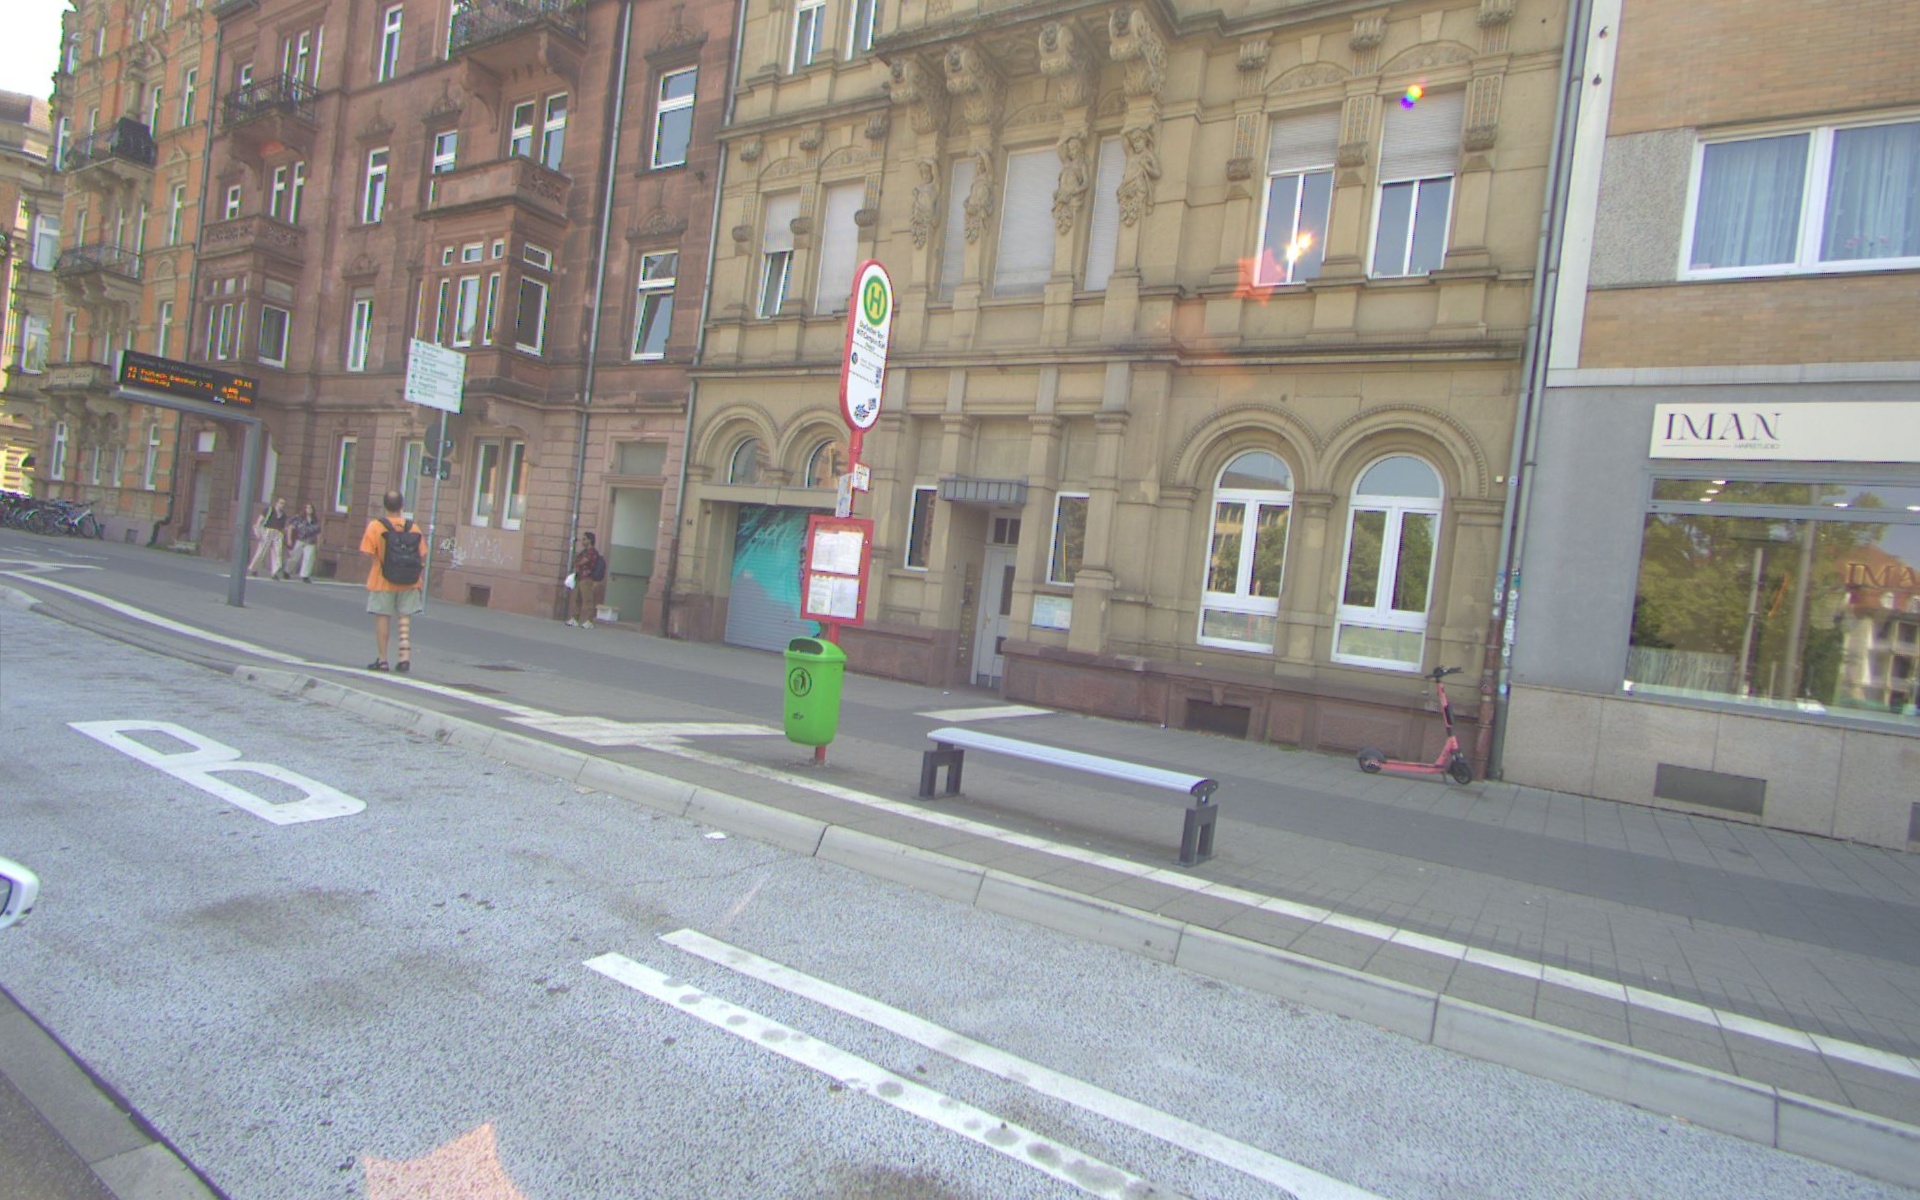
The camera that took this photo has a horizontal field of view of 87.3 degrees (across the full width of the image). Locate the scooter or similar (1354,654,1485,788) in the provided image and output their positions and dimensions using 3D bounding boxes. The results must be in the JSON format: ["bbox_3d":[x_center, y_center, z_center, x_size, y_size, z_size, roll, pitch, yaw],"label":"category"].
[{"bbox_3d":[4.888,1.259,10.720,1.122,1.228,0.476,7,1,27],"label":"scooter or similar"}]

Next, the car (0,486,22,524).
[{"bbox_3d":[-41.995,-4.232,41.867,1.652,1.539,3.942,7,0,24],"label":"car"}]

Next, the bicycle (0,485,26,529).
[{"bbox_3d":[-33.076,-3.265,33.275,0.932,1.390,3.007,7,0,31],"label":"bicycle"}]

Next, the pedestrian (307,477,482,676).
[{"bbox_3d":[-5.504,-0.219,9.794,1.221,1.762,0.963,5,-1,38],"label":"pedestrian"}]

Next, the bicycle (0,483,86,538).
[{"bbox_3d":[-28.643,-2.775,30.551,0.857,1.388,2.997,7,0,31],"label":"bicycle"}]

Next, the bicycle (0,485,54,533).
[{"bbox_3d":[-31.105,-3.034,32.133,0.932,1.390,3.007,7,0,31],"label":"bicycle"}]

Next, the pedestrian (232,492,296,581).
[{"bbox_3d":[-15.044,-1.366,21.736,0.833,1.798,0.715,7,1,31],"label":"pedestrian"}]

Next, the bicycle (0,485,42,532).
[{"bbox_3d":[-31.965,-3.119,32.624,0.932,1.390,3.007,7,0,31],"label":"bicycle"}]

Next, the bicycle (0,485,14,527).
[{"bbox_3d":[-33.962,-3.364,33.782,0.932,1.390,3.007,7,0,31],"label":"bicycle"}]

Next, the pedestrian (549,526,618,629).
[{"bbox_3d":[-7.033,-0.400,18.821,0.729,1.800,0.870,7,1,4],"label":"pedestrian"}]

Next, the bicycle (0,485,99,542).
[{"bbox_3d":[-27.871,-2.629,30.112,0.857,1.388,2.997,7,0,31],"label":"bicycle"}]

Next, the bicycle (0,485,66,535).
[{"bbox_3d":[-30.203,-2.930,31.554,0.932,1.390,3.007,7,0,31],"label":"bicycle"}]

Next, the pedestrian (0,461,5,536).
[{"bbox_3d":[-17.642,-1.642,17.773,0.892,1.763,0.761,5,2,-33],"label":"pedestrian"}]

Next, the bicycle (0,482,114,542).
[{"bbox_3d":[-27.062,-2.610,29.720,0.857,1.388,2.997,7,0,31],"label":"bicycle"}]

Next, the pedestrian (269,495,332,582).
[{"bbox_3d":[-14.671,-1.360,22.378,0.856,1.800,0.715,7,1,30],"label":"pedestrian"}]

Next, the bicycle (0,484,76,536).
[{"bbox_3d":[-29.417,-2.862,31.064,0.857,1.388,2.997,7,0,31],"label":"bicycle"}]
